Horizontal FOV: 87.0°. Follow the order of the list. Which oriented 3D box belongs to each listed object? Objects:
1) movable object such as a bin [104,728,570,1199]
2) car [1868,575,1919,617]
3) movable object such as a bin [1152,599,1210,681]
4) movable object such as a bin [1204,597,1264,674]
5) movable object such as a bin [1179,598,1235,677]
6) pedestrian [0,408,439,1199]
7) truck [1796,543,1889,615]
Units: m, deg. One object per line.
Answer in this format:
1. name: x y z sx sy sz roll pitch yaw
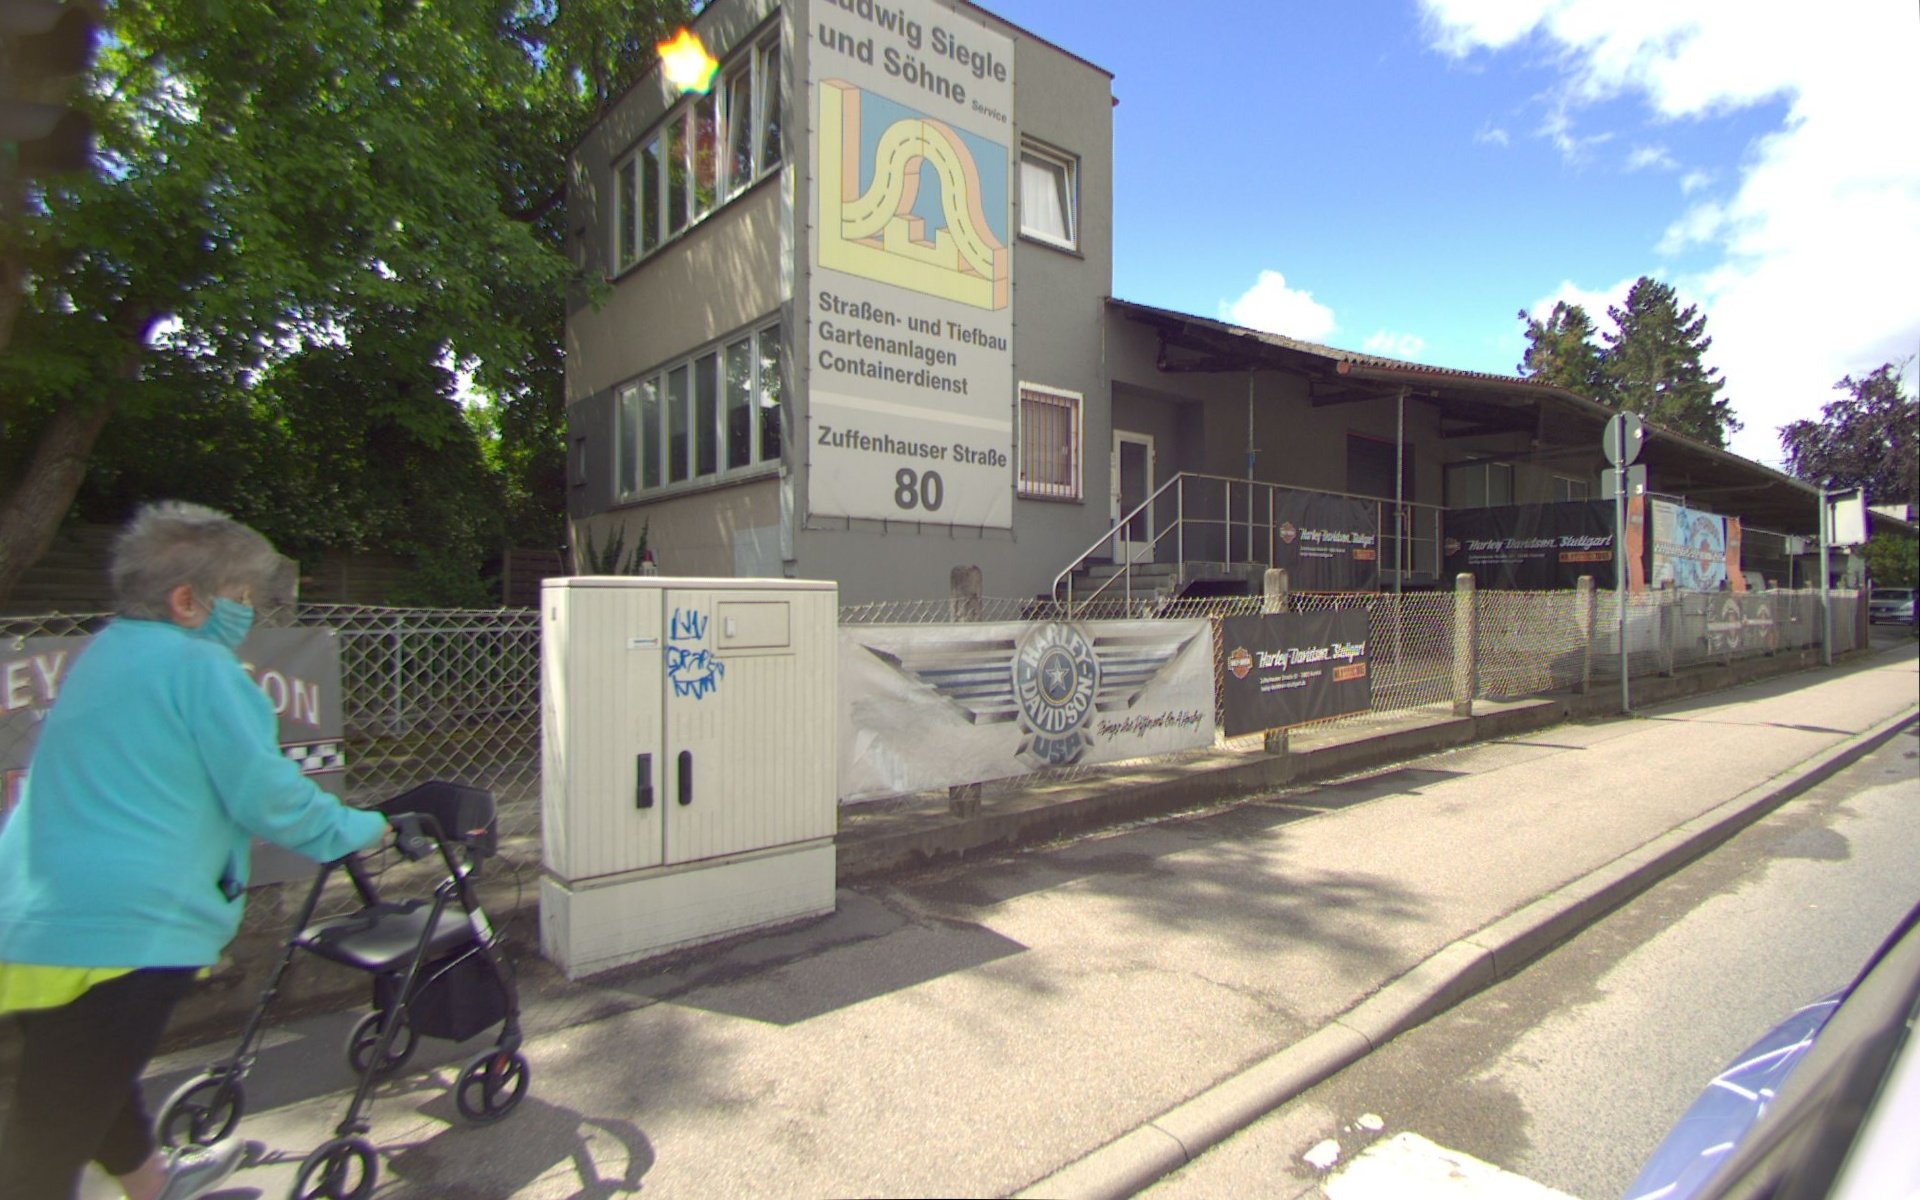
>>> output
1. movable object such as a bin: -1.499 0.820 2.540 0.660 0.882 0.745 -1 0 13
2. car: 37.411 -0.191 39.685 5.109 1.549 1.862 -1 1 -39
3. movable object such as a bin: 2.648 0.465 12.139 0.466 0.942 0.482 -1 0 -40
4. movable object such as a bin: 3.482 0.442 12.850 0.573 0.942 0.482 -1 0 -40
5. movable object such as a bin: 3.043 0.454 12.475 0.466 0.942 0.482 -1 0 -40
6. pedestrian: -1.633 0.502 1.965 0.723 1.562 0.838 -1 0 14
7. truck: 37.311 -0.878 42.756 5.109 2.864 2.090 -1 0 -39
